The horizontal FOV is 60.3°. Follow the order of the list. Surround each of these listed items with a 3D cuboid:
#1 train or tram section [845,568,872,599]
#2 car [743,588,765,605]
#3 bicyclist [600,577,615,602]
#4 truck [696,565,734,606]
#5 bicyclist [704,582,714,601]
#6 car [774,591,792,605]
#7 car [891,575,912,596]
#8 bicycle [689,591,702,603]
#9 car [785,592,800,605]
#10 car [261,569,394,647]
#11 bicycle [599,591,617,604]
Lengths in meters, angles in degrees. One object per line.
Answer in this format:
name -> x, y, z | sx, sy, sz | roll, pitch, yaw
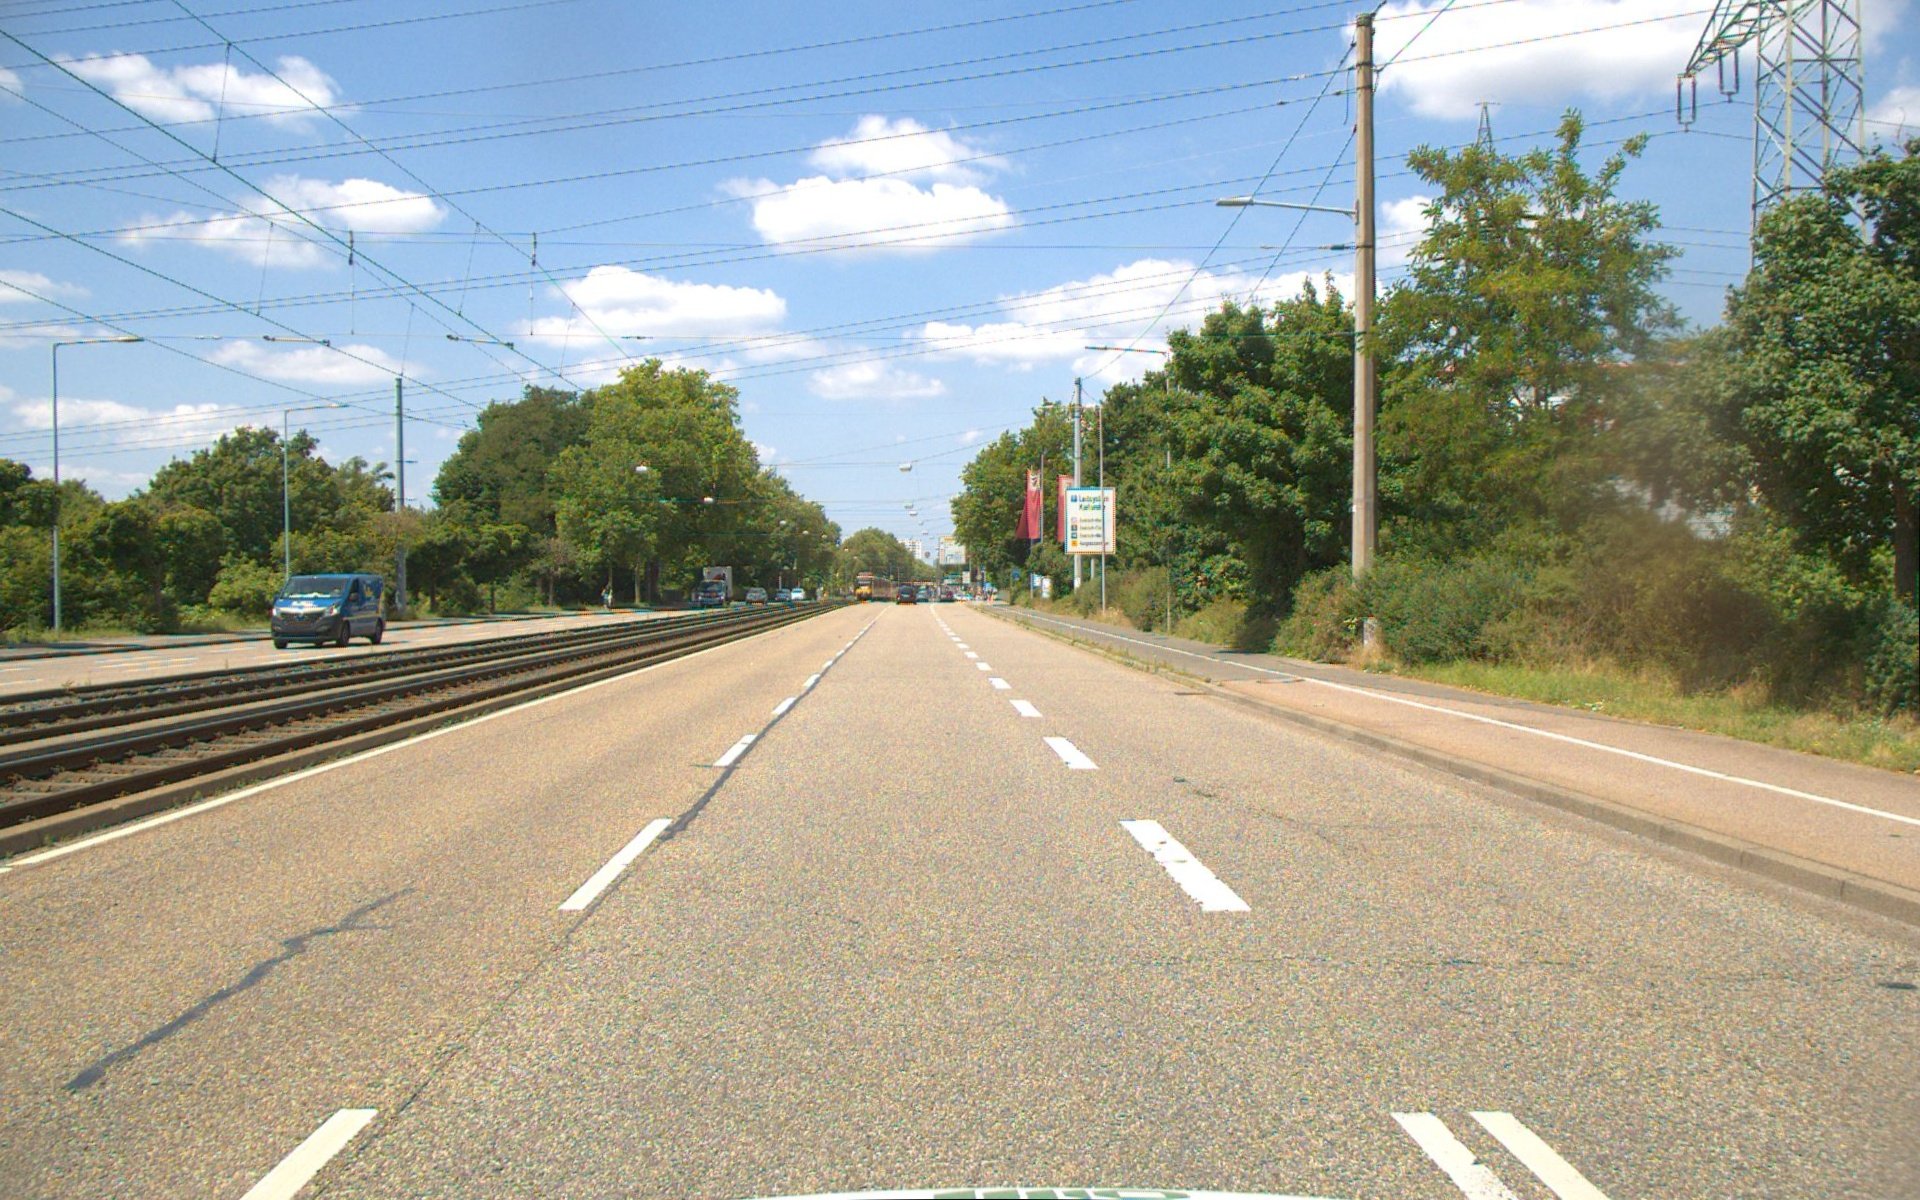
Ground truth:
train or tram section -> -14.648, -2.381, 239.678 | 2.986, 4.341, 15.421 | 0, 0, -1
car -> -19.598, -0.363, 157.214 | 1.717, 1.562, 3.955 | -1, 0, -3
bicyclist -> -23.350, -0.684, 109.572 | 0.637, 1.648, 1.155 | 1, 0, 2
truck -> -19.956, -1.170, 135.066 | 2.204, 3.293, 6.041 | 0, 0, 0
bicyclist -> -21.609, -0.745, 142.478 | 0.610, 1.645, 1.062 | 2, 0, 4
car -> -19.939, -0.224, 186.033 | 1.603, 1.446, 4.126 | -1, 1, -1
car -> -5.212, -1.266, 147.466 | 1.861, 1.837, 3.975 | 2, 0, -2
bicycle -> -22.841, -0.271, 142.594 | 0.610, 0.996, 2.056 | 2, 0, 4
car -> -20.760, -0.199, 204.785 | 1.604, 1.461, 3.720 | -2, 0, -2
car -> -17.286, 0.192, 45.472 | 1.820, 1.961, 5.006 | -2, 1, -2
bicycle -> -23.356, -0.167, 109.669 | 0.637, 0.874, 2.121 | 1, 0, 2
